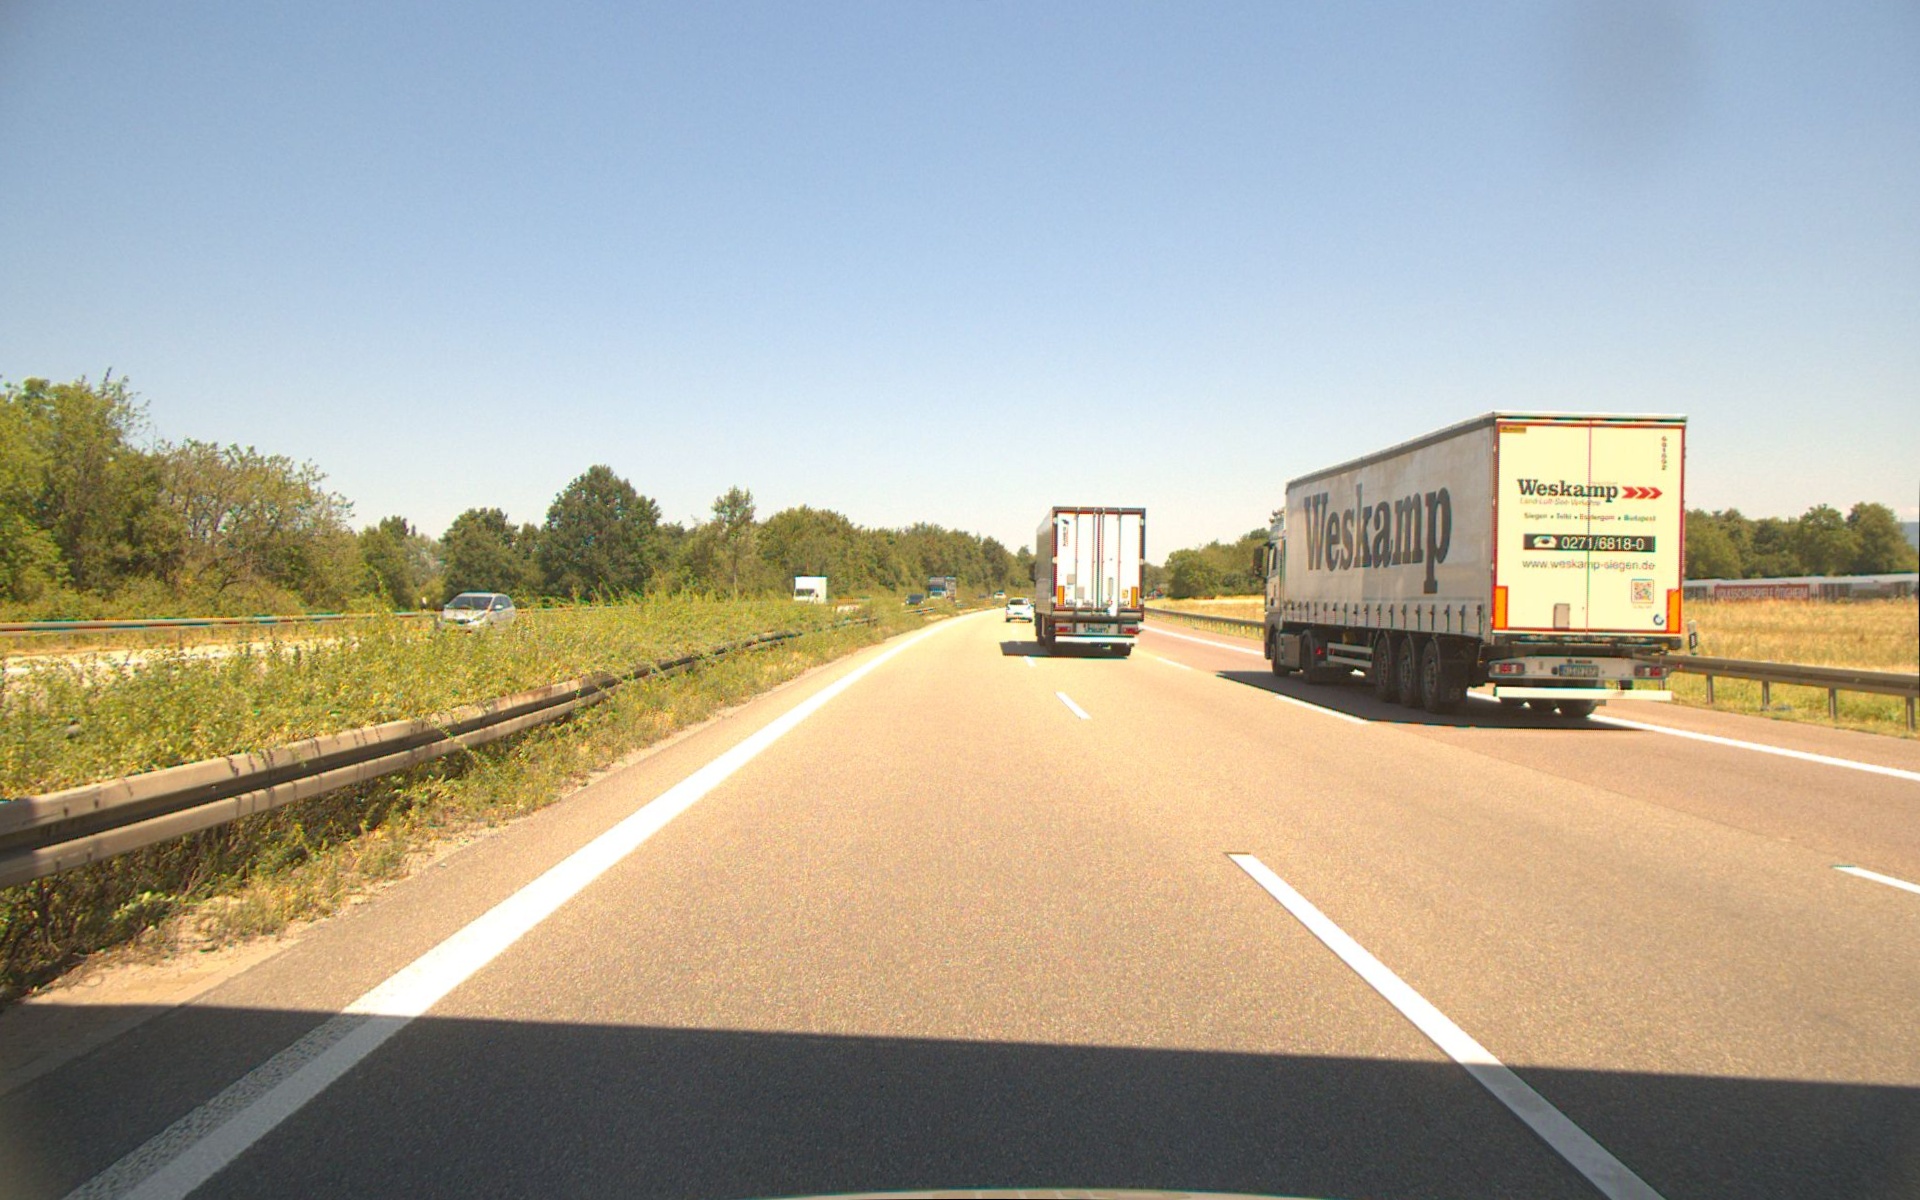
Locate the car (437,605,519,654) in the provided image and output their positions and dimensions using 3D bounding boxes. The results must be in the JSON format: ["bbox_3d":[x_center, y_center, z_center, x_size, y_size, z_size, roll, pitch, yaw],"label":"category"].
[{"bbox_3d":[-16.467,0.967,56.710,1.676,1.601,4.402,-1,0,-2],"label":"car"}]

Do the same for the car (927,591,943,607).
[{"bbox_3d":[-3.466,-0.148,226.909,2.015,2.107,5.409,0,0,1],"label":"car"}]

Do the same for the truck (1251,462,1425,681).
[{"bbox_3d":[7.983,-0.584,35.511,2.547,4.330,5.089,1,0,0],"label":"truck"}]

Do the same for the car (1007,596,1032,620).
[{"bbox_3d":[3.823,0.489,106.509,1.593,1.505,4.001,0,0,2],"label":"car"}]

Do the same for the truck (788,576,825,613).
[{"bbox_3d":[-13.379,-0.441,144.706,2.400,3.153,6.992,0,0,2],"label":"truck"}]

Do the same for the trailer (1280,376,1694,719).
[{"bbox_3d":[8.034,-0.618,27.887,2.542,4.326,13.638,1,0,0],"label":"trailer"}]

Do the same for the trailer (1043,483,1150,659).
[{"bbox_3d":[4.101,-0.803,51.821,2.840,4.738,13.992,1,0,3],"label":"trailer"}]
